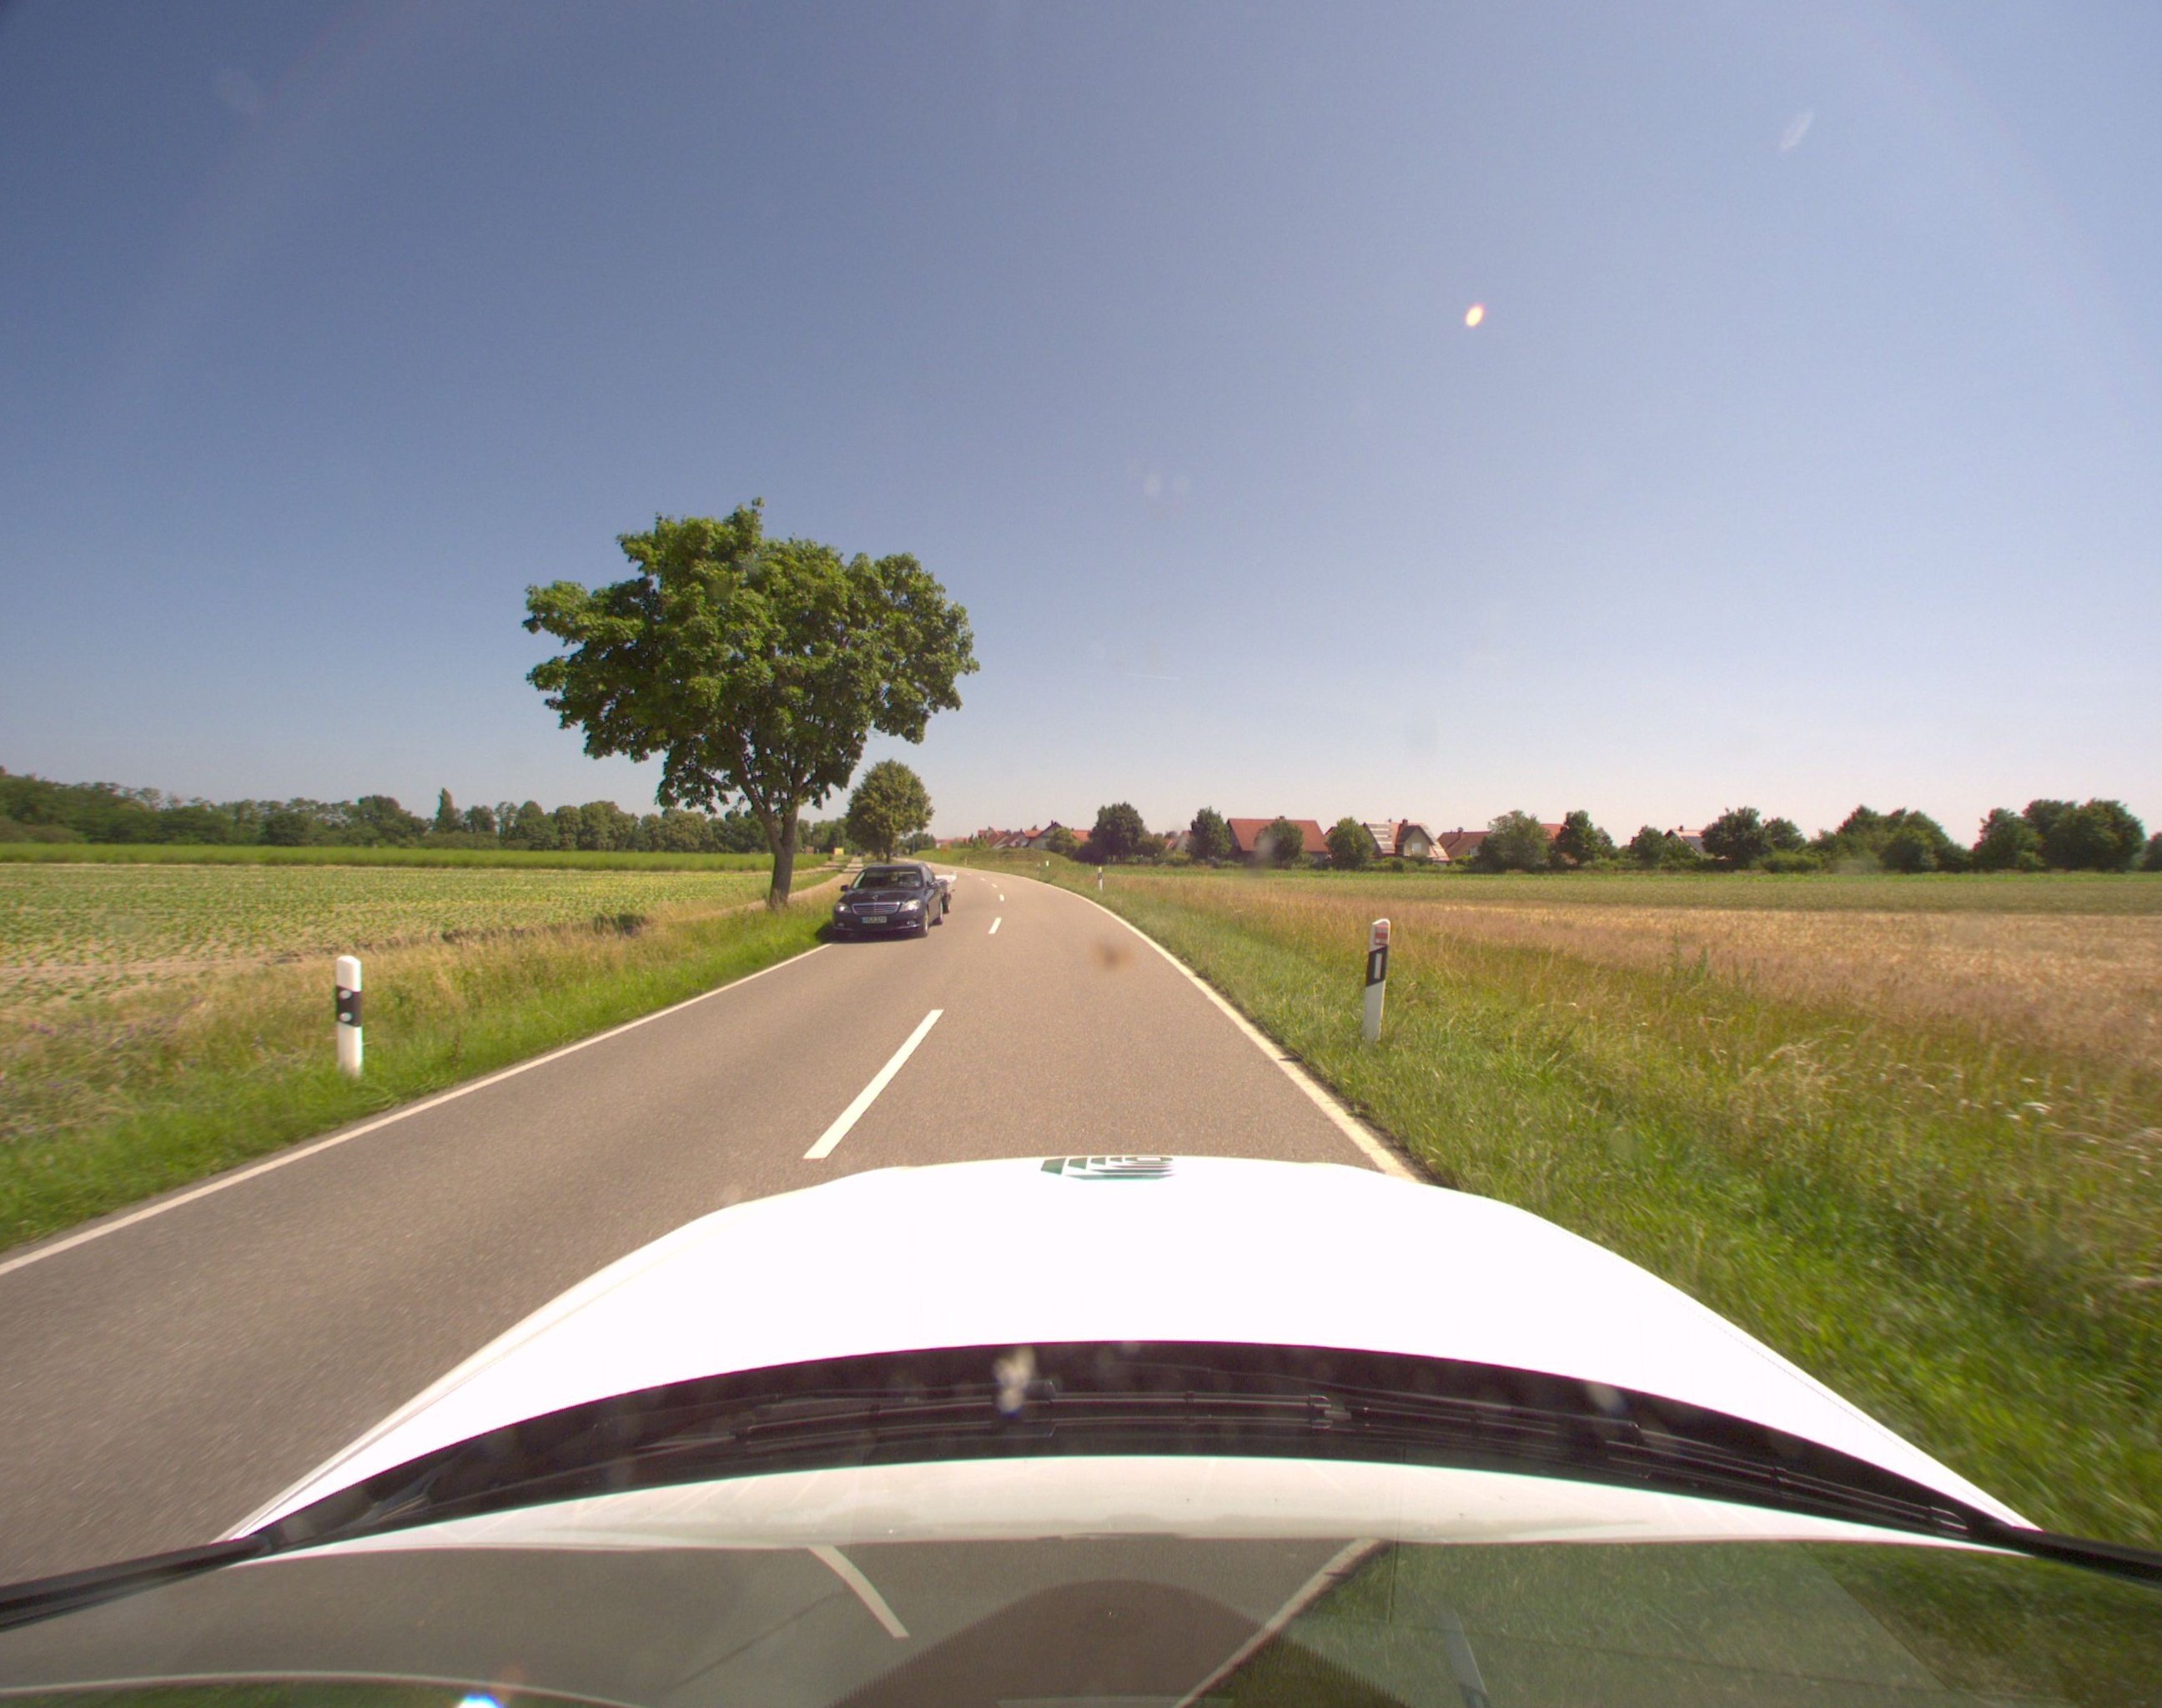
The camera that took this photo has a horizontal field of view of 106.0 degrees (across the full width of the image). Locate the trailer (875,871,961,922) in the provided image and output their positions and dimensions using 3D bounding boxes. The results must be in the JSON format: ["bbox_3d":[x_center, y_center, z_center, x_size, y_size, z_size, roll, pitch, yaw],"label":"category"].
[{"bbox_3d":[-4.174,1.052,21.384,1.619,1.065,4.113,-3,0,-4],"label":"trailer"}]

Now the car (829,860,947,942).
[{"bbox_3d":[-3.932,0.883,17.223,1.640,1.429,4.175,-2,0,-3],"label":"car"}]
